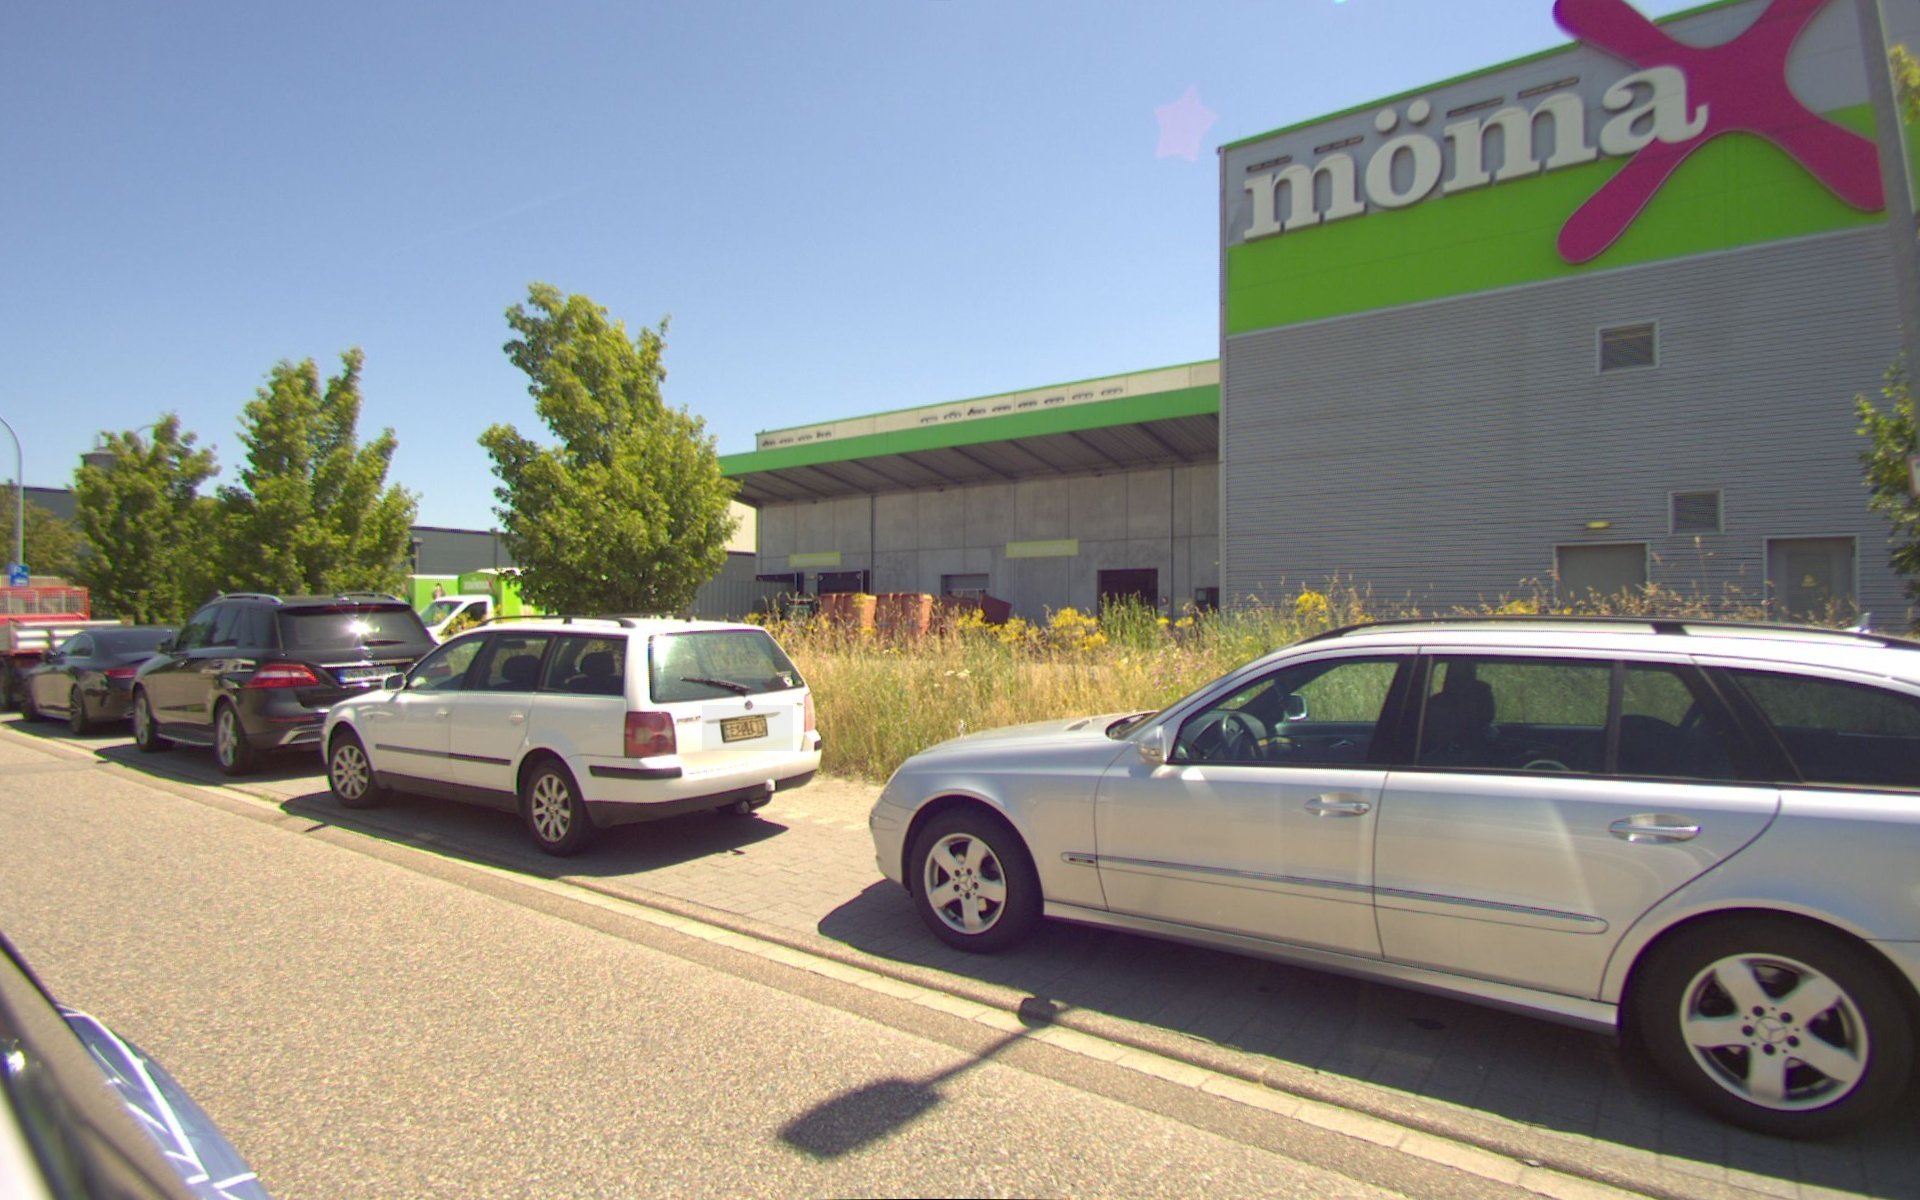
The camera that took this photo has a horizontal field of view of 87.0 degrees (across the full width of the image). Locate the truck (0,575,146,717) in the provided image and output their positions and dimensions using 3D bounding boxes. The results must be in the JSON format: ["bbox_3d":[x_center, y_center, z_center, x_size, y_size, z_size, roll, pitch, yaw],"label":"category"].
[{"bbox_3d":[-16.455,0.756,18.110,4.637,2.239,1.835,-1,-1,36],"label":"truck"}]

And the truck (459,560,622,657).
[{"bbox_3d":[-18.968,0.481,46.050,3.214,4.119,6.048,-1,-3,37],"label":"truck"}]

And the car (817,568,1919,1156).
[{"bbox_3d":[1.954,0.701,4.130,5.154,1.530,1.836,-1,-1,35],"label":"car"}]

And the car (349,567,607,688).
[{"bbox_3d":[-12.996,0.720,27.718,2.516,2.948,5.920,-1,-1,36],"label":"car"}]

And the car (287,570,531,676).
[{"bbox_3d":[-16.278,0.674,30.260,2.516,2.846,5.920,-1,-1,36],"label":"car"}]

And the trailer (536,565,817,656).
[{"bbox_3d":[-14.016,0.767,52.595,3.214,4.119,15.177,-1,-3,37],"label":"trailer"}]

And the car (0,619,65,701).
[{"bbox_3d":[-20.084,1.196,20.706,3.758,1.562,1.835,-1,-1,35],"label":"car"}]

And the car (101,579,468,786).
[{"bbox_3d":[-7.457,0.742,10.952,4.979,1.772,1.834,-1,-1,38],"label":"car"}]

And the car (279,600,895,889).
[{"bbox_3d":[-2.976,0.811,7.550,4.892,1.530,1.836,-1,-1,35],"label":"car"}]

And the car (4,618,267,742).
[{"bbox_3d":[-11.820,1.017,14.393,4.745,1.454,1.834,-1,-1,37],"label":"car"}]
